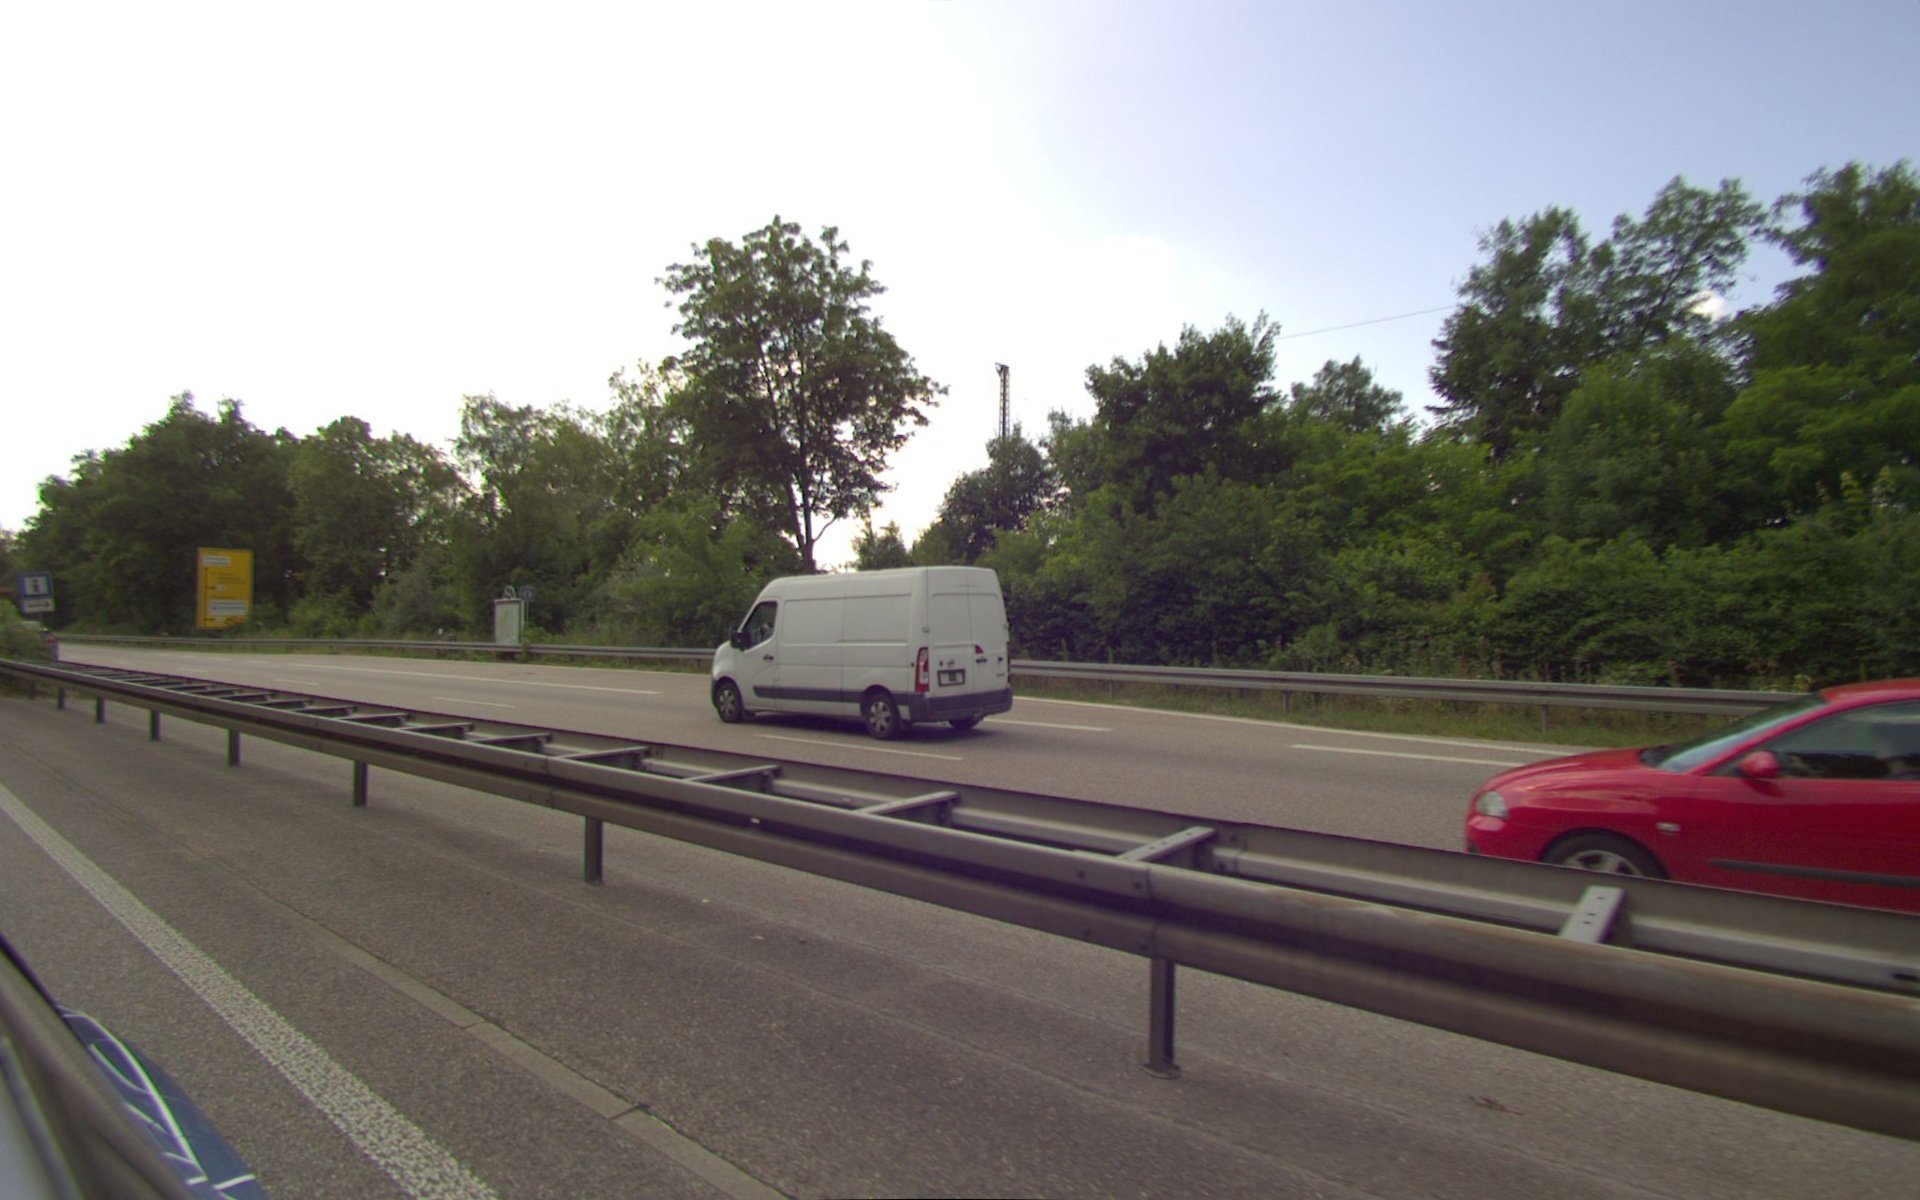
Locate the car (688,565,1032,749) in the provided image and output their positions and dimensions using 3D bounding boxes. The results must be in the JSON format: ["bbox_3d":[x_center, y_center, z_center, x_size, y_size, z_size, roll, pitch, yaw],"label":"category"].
[{"bbox_3d":[-1.802,0.818,16.169,5.829,2.441,2.088,-2,-1,42],"label":"car"}]

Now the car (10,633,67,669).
[{"bbox_3d":[-43.466,2.363,47.699,3.531,1.620,1.569,-2,-2,41],"label":"car"}]

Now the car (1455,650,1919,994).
[{"bbox_3d":[4.973,1.046,5.126,4.126,1.465,1.660,-2,-1,42],"label":"car"}]

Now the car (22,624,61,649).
[{"bbox_3d":[-75.219,3.002,82.864,3.998,1.963,1.843,-2,-3,41],"label":"car"}]
